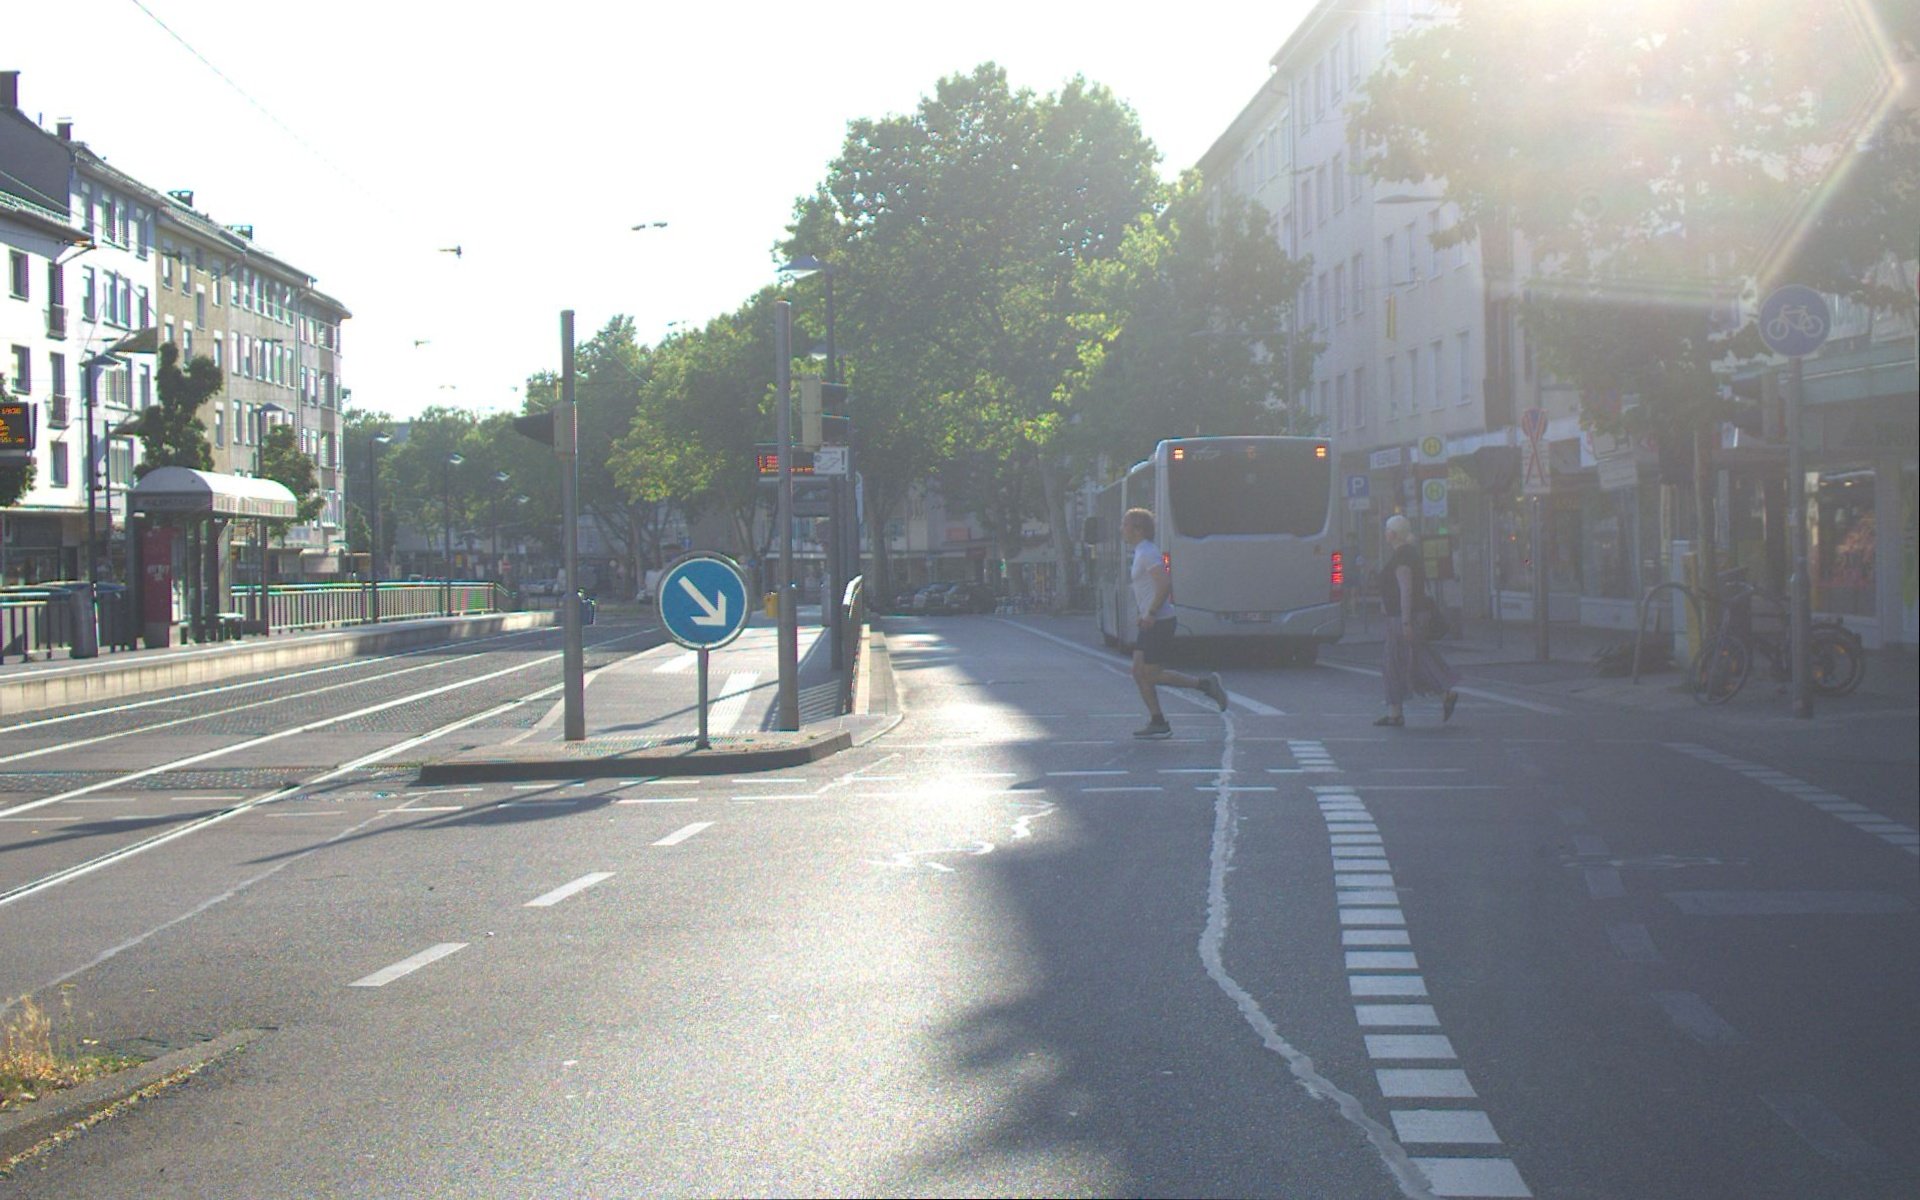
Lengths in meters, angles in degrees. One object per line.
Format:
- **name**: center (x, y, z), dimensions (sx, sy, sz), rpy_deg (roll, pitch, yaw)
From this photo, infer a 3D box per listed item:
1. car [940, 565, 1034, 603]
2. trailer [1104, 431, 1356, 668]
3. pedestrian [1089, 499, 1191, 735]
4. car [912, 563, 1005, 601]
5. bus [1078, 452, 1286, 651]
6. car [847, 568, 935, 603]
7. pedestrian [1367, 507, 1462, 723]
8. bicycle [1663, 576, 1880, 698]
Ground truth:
- **car**: center (1.238, -0.743, 158.468), dimensions (3.889, 1.693, 1.833), rpy_deg (-2, 1, -29)
- **trailer**: center (3.770, -0.724, 50.024), dimensions (2.812, 3.100, 8.795), rpy_deg (1, 1, -1)
- **pedestrian**: center (1.368, 0.123, 26.188), dimensions (0.680, 1.764, 0.687), rpy_deg (1, 1, -2)
- **car**: center (-0.067, -0.859, 161.098), dimensions (3.889, 1.693, 1.833), rpy_deg (-2, 1, -29)
- **bus**: center (3.668, -0.824, 58.974), dimensions (2.812, 3.091, 9.095), rpy_deg (1, 1, -1)
- **car**: center (-3.348, -0.710, 166.521), dimensions (3.889, 1.591, 1.691), rpy_deg (-2, 1, -29)
- **pedestrian**: center (3.762, 0.119, 28.481), dimensions (0.680, 1.764, 0.687), rpy_deg (-1, 1, 0)
- **bicycle**: center (7.383, 0.330, 31.319), dimensions (1.772, 1.018, 0.694), rpy_deg (-2, 1, -1)
